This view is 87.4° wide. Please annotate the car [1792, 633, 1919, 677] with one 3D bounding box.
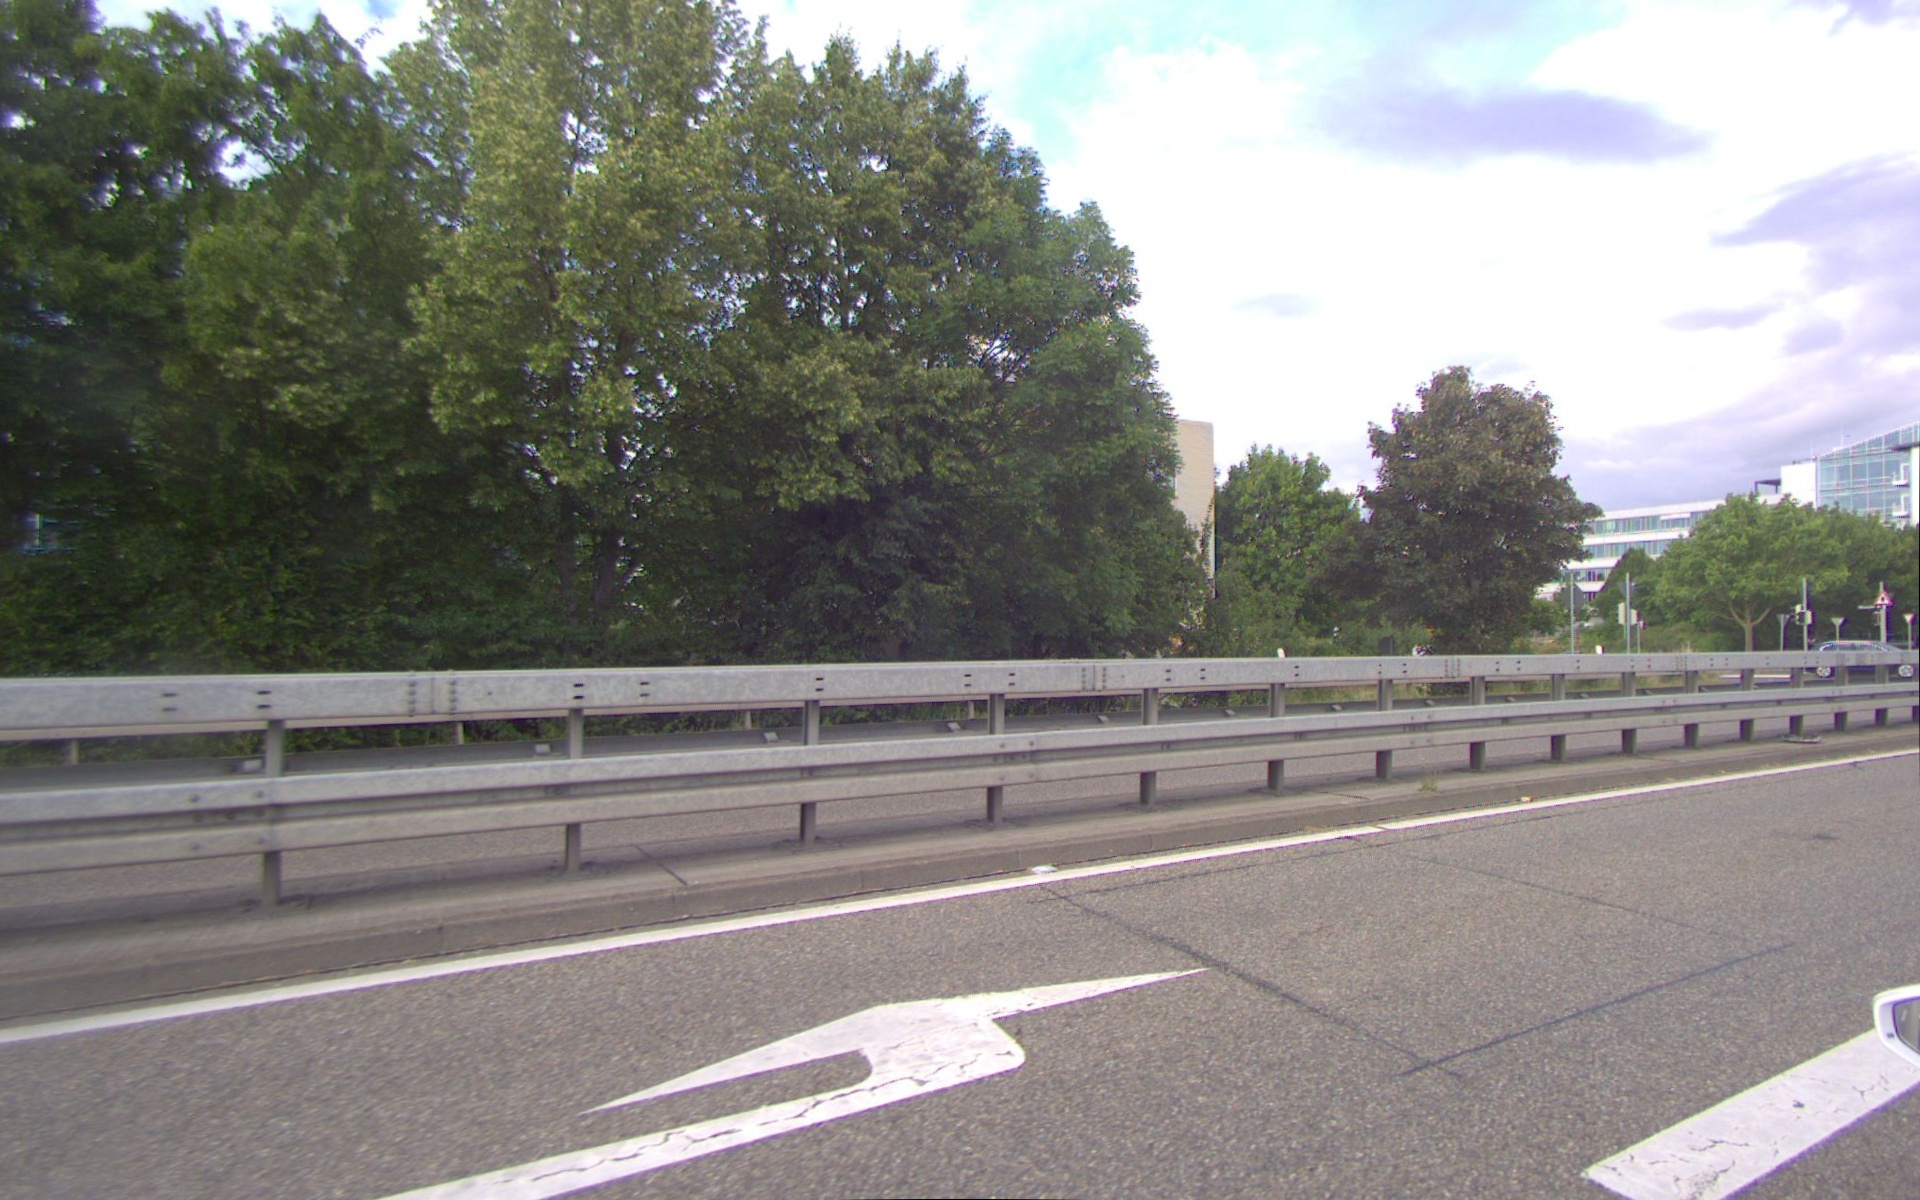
[{"bbox_3d":[37.840,2.279,42.344,1.870,1.572,3.954,2,0,-40],"label":"car"}]
